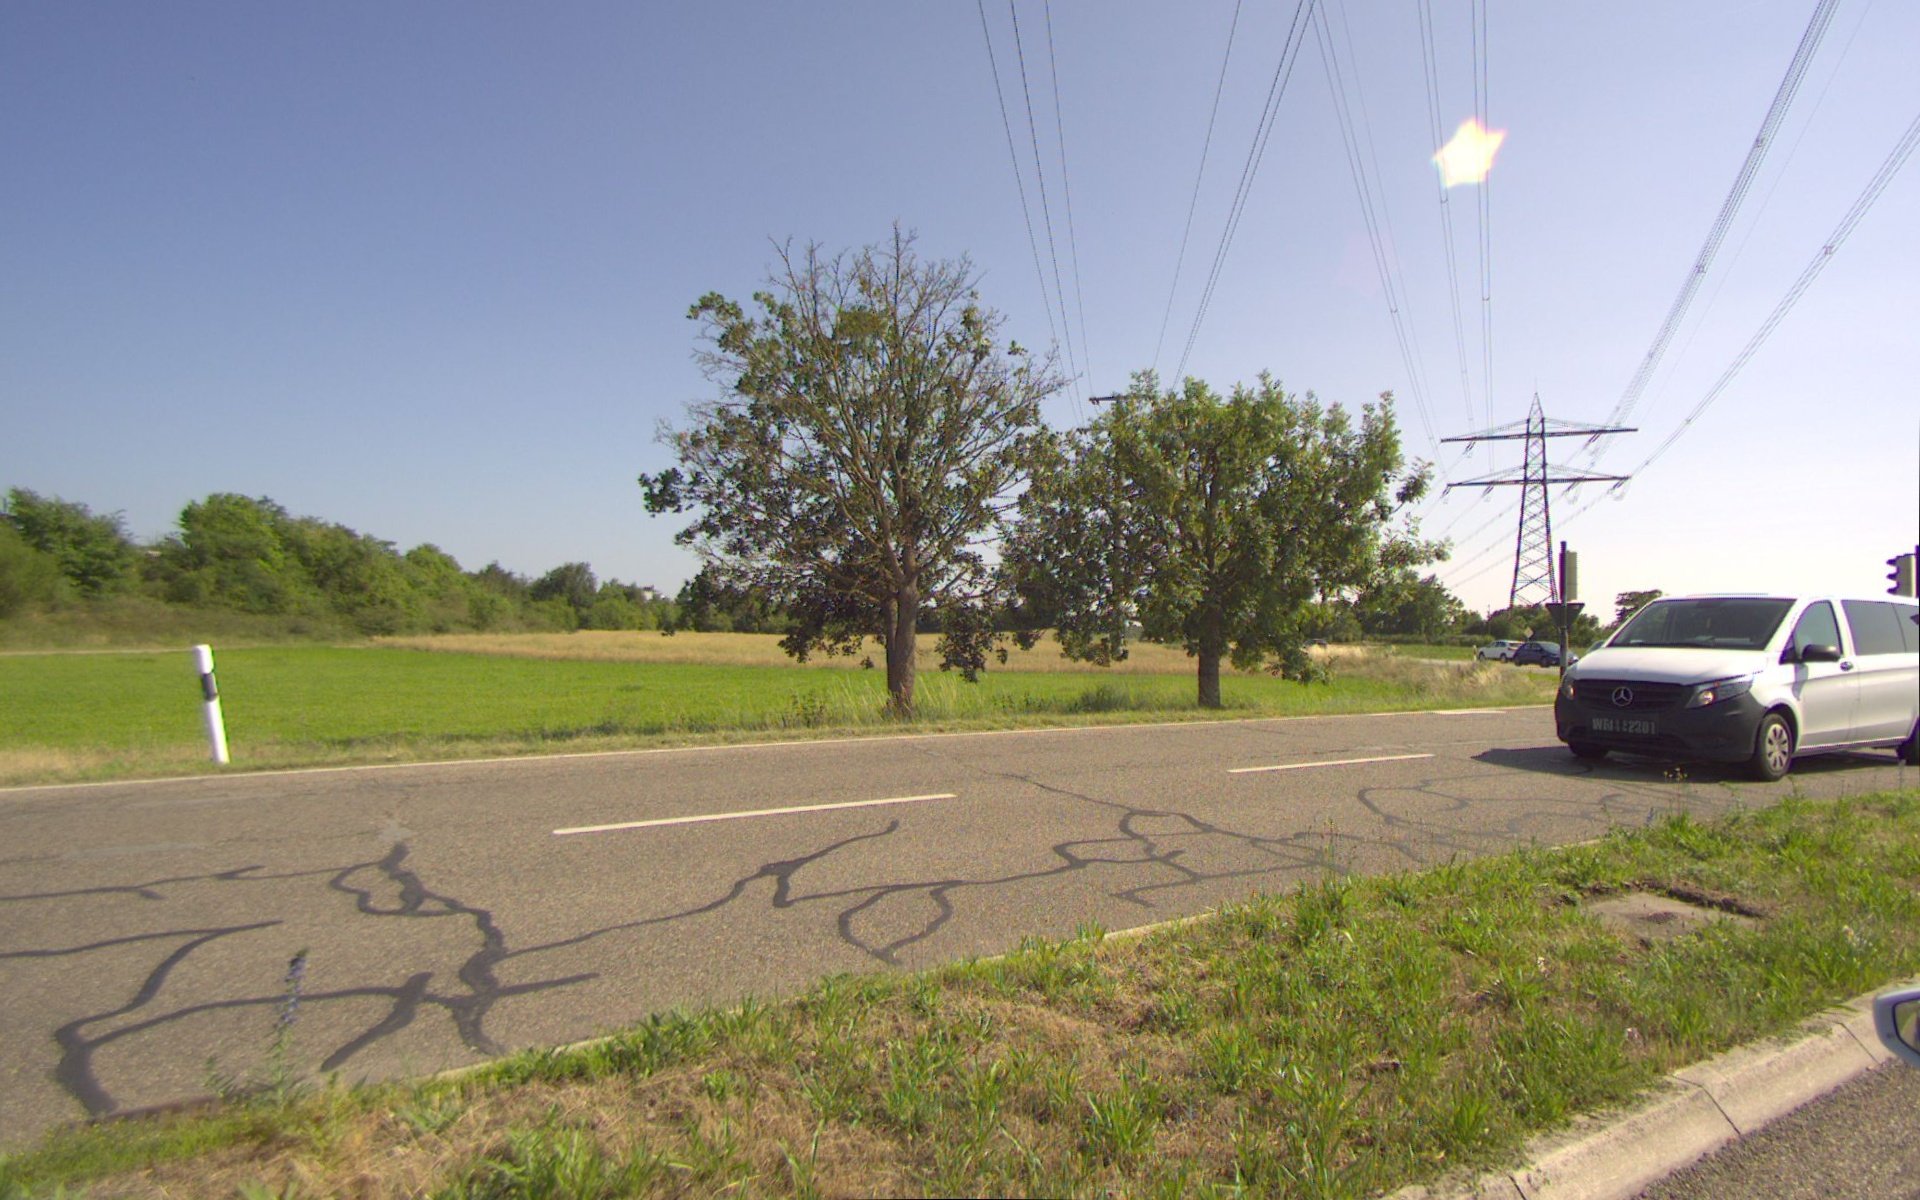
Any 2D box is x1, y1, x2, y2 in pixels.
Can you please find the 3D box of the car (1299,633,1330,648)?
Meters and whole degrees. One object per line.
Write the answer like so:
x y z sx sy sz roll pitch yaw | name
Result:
37.152 4.257 105.403 1.683 1.435 4.102 2 -1 -3 | car

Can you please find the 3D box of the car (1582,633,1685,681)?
25.335 2.115 37.950 1.783 1.673 4.003 1 -2 10 | car

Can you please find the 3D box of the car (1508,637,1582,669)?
32.998 2.976 56.755 1.785 1.673 4.000 1 -1 -2 | car

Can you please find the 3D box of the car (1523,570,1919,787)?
8.683 0.738 11.045 4.885 1.944 1.986 1 0 -27 | car

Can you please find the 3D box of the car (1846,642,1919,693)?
33.591 2.360 35.041 1.785 1.673 4.000 1 -1 -2 | car

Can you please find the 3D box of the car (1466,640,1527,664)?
37.990 3.644 71.246 1.773 1.539 4.334 1 -2 -4 | car
